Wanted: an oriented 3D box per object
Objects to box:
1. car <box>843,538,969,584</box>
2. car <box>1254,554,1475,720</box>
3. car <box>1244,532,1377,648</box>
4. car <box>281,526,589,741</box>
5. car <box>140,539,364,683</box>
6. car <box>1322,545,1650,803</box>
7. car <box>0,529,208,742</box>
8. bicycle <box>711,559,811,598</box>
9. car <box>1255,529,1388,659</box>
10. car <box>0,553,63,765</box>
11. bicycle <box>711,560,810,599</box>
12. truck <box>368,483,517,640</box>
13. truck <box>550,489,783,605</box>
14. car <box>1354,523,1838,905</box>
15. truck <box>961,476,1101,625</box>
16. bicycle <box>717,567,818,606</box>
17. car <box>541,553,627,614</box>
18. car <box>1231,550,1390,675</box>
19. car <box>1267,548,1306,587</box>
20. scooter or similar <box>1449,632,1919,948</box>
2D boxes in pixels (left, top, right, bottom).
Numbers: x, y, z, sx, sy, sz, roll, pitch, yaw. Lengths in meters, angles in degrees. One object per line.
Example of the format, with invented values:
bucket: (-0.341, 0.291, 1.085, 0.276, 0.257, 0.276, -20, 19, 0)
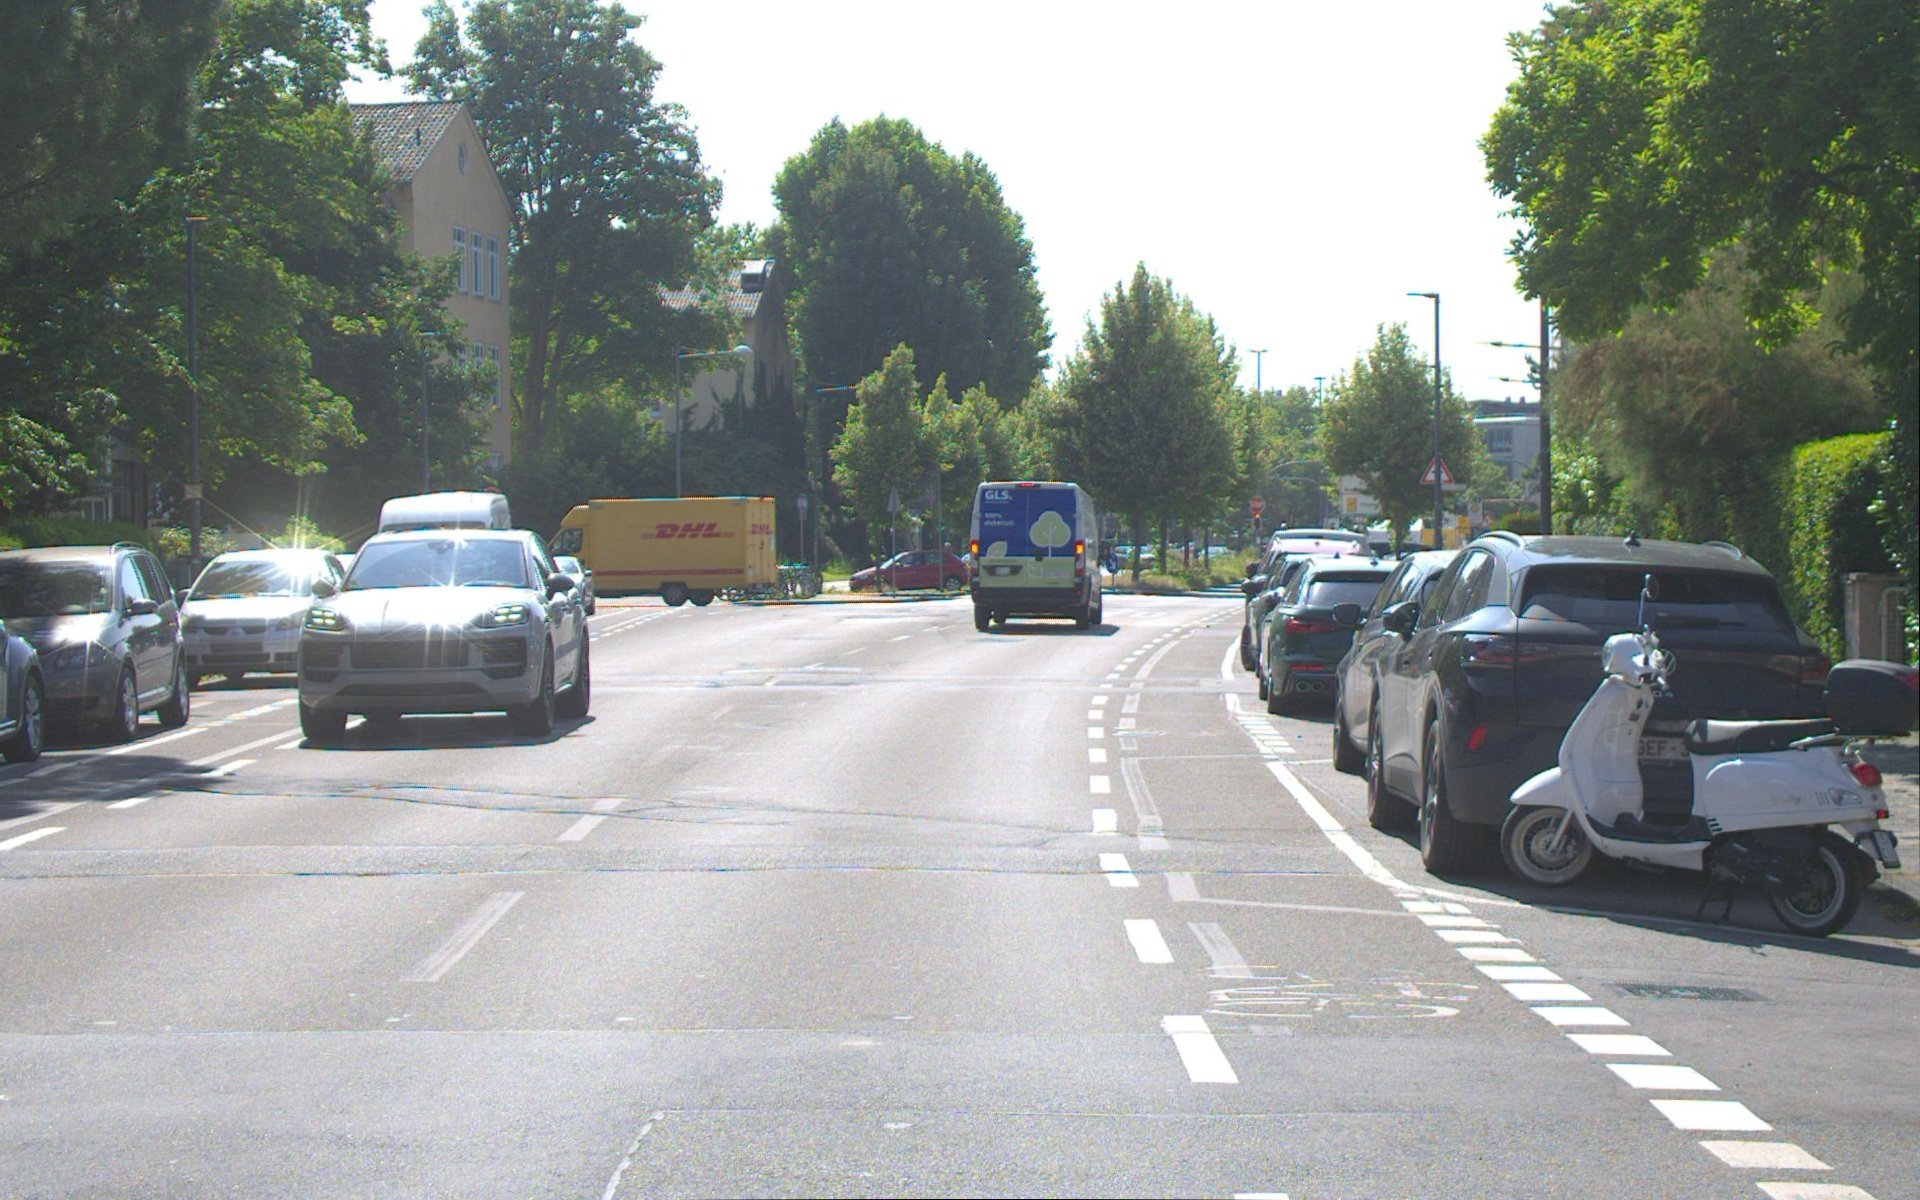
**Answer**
car: (-1.805, -1.294, 114.427, 3.986, 1.485, 1.629, -1, 1, -10)
car: (3.741, 0.295, 32.437, 1.785, 1.394, 4.323, 2, 1, 3)
car: (5.236, -0.177, 51.768, 1.700, 1.671, 3.775, 0, 1, 1)
car: (-4.314, 0.209, 28.937, 1.993, 1.652, 4.605, -1, 1, -2)
car: (-8.234, 0.100, 40.258, 1.835, 1.590, 3.775, -1, 1, 0)
car: (3.427, 0.422, 23.023, 1.709, 1.509, 3.902, 2, 1, 2)
car: (-7.731, 0.247, 29.345, 1.908, 1.671, 4.259, -1, 1, -4)
bicycle: (-5.528, -0.594, 95.422, 2.687, 1.044, 1.026, -1, 1, -9)
car: (4.886, -0.118, 46.514, 1.701, 1.671, 3.774, 0, 1, 6)
car: (-7.552, 0.436, 23.732, 1.780, 1.455, 4.087, -1, 1, -2)
bicycle: (-5.600, -0.581, 96.528, 2.687, 1.044, 1.026, -1, 1, -9)
truck: (-8.757, -0.690, 58.565, 2.080, 2.528, 5.468, -1, 1, -4)
truck: (-7.711, -1.376, 90.242, 5.673, 2.936, 2.219, 0, 1, 21)
car: (3.049, 0.456, 17.352, 1.785, 1.632, 4.470, 1, 1, 3)
truck: (1.316, -0.886, 61.830, 2.272, 2.562, 4.391, -1, 1, 4)
bicycle: (-5.286, -0.376, 94.308, 2.664, 1.023, 1.026, -1, 1, -9)
car: (-8.685, -0.392, 79.652, 1.754, 1.339, 3.654, -1, 1, -3)
car: (4.172, 0.112, 41.361, 1.785, 1.395, 4.122, 1, 1, 5)
car: (17.177, -1.742, 181.198, 1.908, 2.007, 4.000, -1, 1, 4)
scooter or similar: (3.045, 0.769, 14.522, 1.796, 1.150, 0.718, 4, 1, 43)
